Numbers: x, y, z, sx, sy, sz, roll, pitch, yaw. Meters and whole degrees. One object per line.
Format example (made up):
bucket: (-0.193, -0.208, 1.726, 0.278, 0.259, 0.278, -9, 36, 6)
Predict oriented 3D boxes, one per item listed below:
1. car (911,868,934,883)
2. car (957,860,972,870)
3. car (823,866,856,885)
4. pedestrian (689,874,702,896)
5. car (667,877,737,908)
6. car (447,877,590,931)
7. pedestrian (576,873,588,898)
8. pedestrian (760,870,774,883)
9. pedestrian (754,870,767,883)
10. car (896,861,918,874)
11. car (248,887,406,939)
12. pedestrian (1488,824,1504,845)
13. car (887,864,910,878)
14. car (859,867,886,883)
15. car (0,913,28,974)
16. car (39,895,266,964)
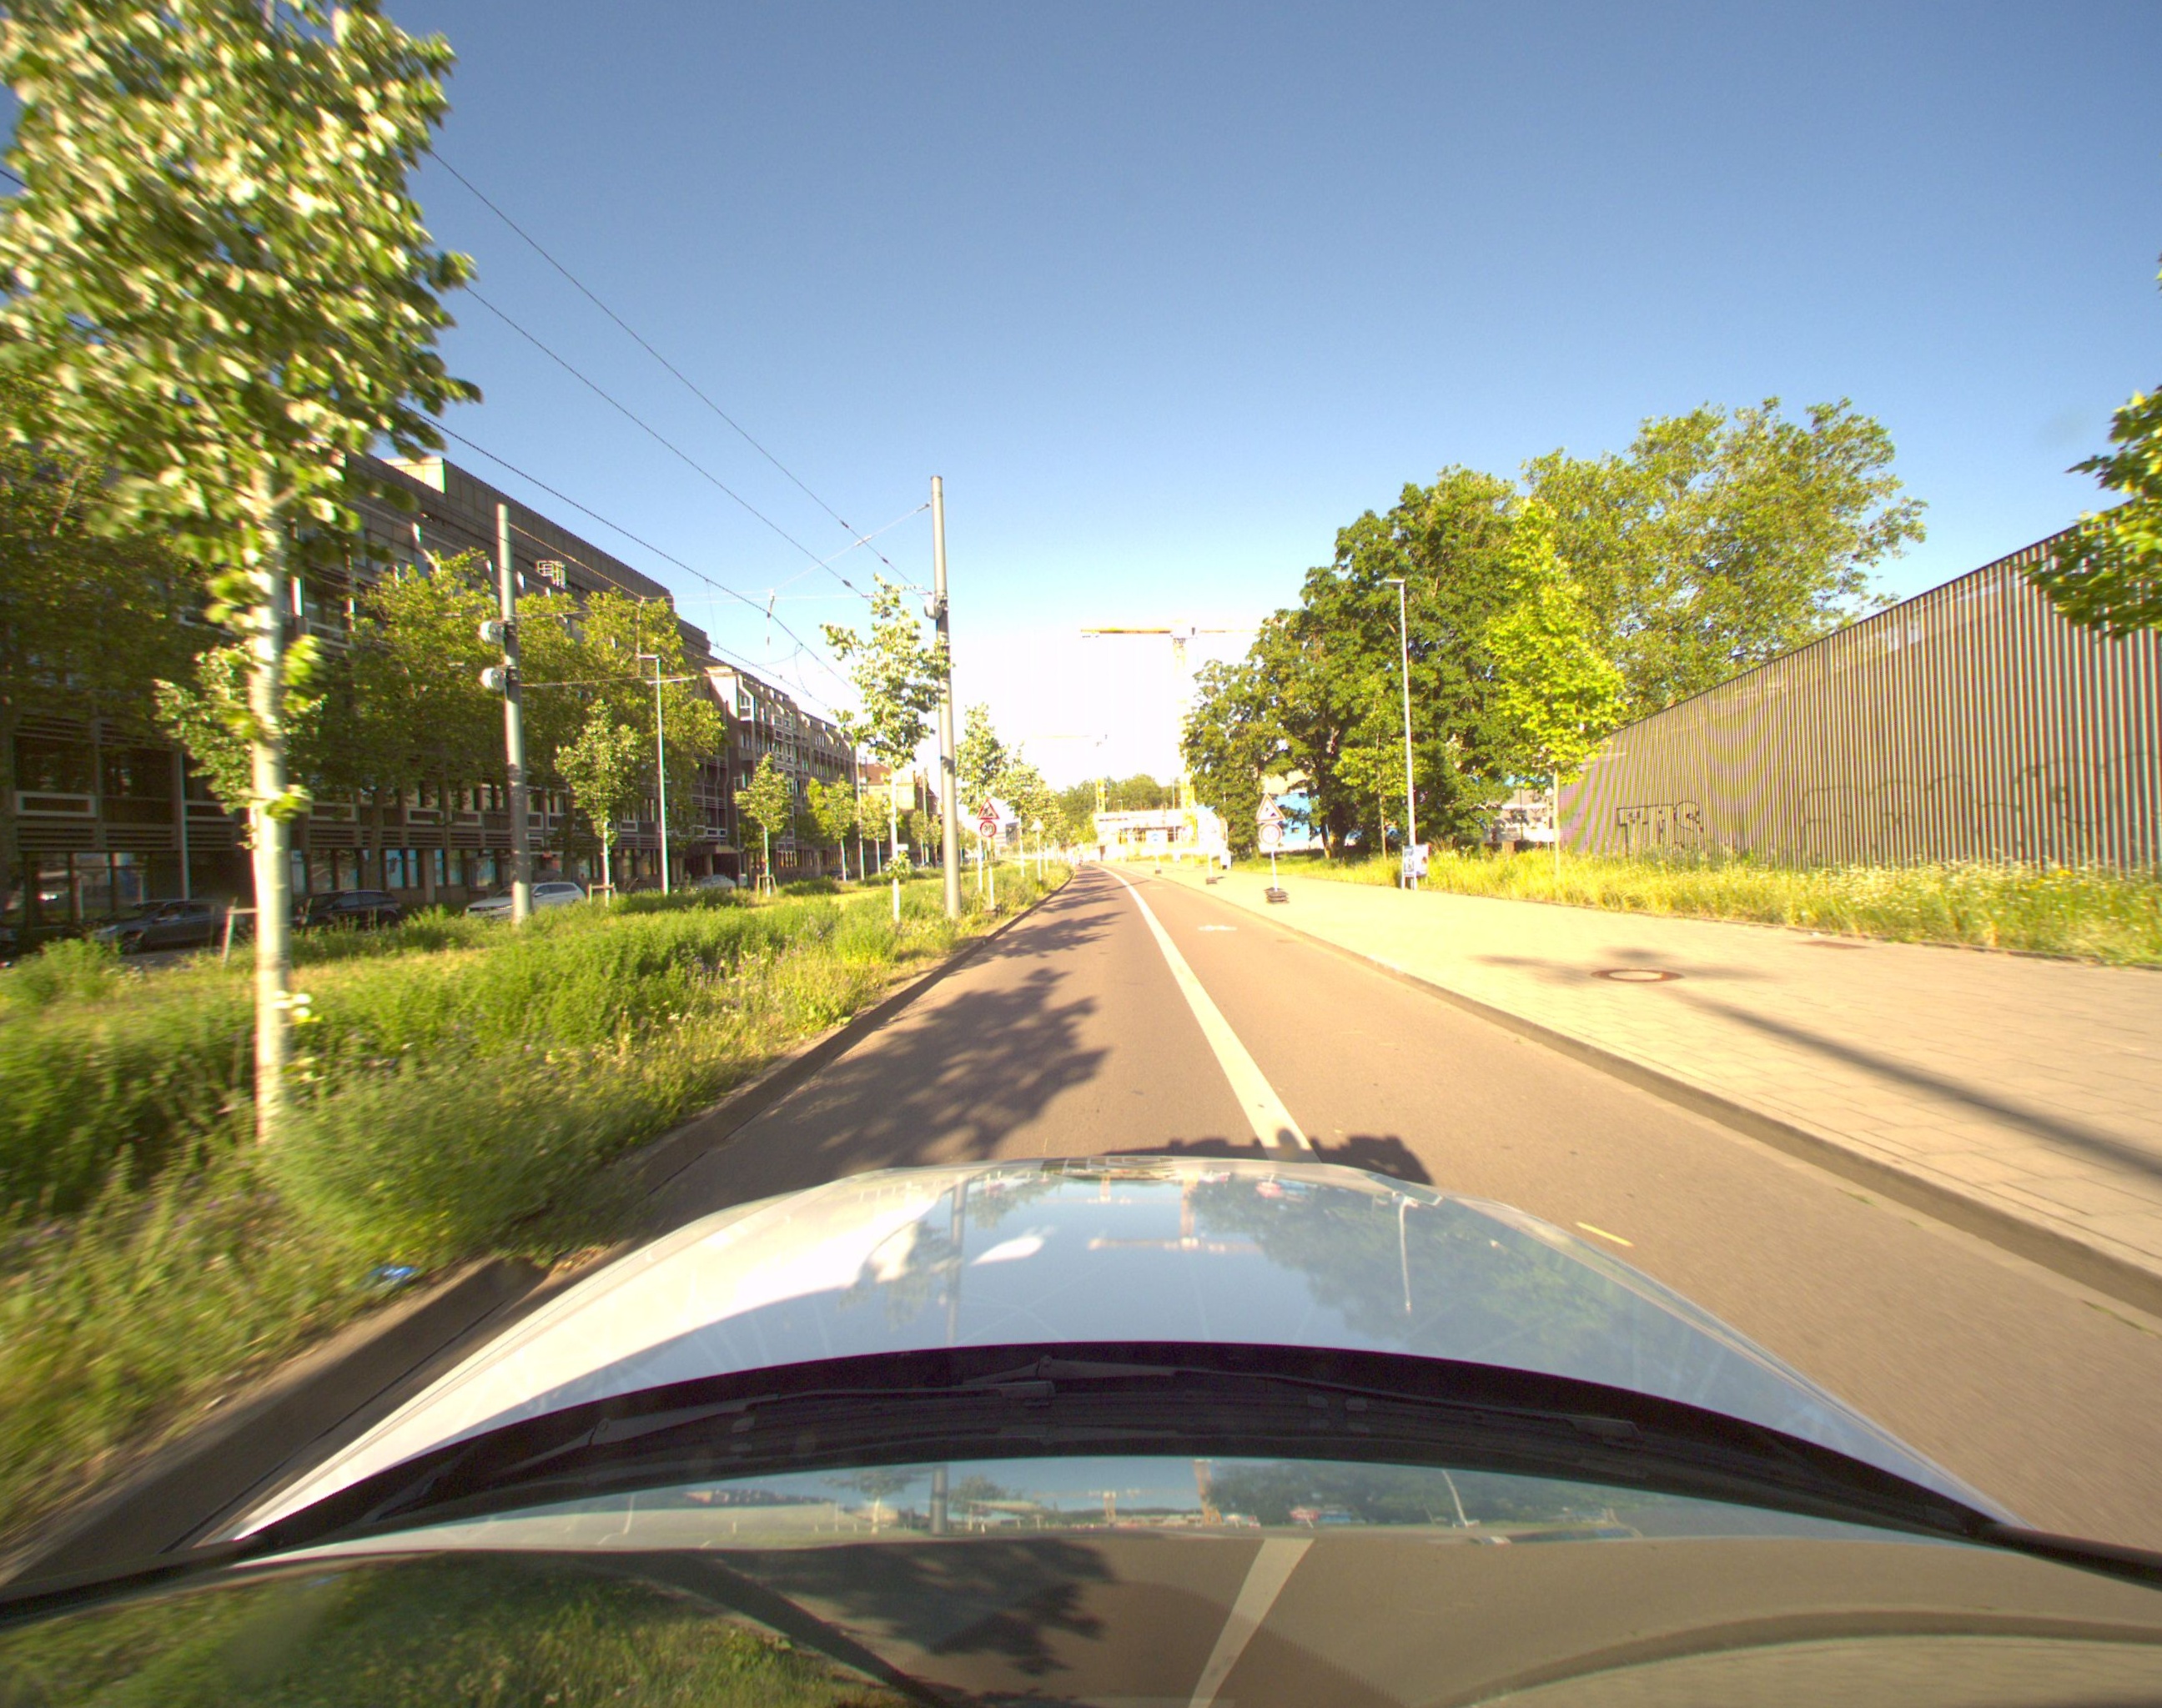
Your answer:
car: (-19.175, 2.557, 98.867, 1.897, 1.575, 4.000, -3, 0, 0)
car: (-20.443, 1.904, 142.884, 1.897, 1.575, 4.301, -3, 0, 0)
car: (-23.715, 2.093, 80.179, 1.897, 1.575, 4.301, -3, 0, 0)
pedestrian: (-29.079, 2.336, 61.447, 0.662, 1.532, 0.648, -3, 0, -4)
car: (-22.294, 2.235, 48.151, 1.751, 1.515, 4.586, -4, 0, 2)
car: (-20.777, 1.792, 30.353, 1.833, 1.594, 4.696, -3, 0, 2)
pedestrian: (-32.165, 2.002, 52.452, 0.407, 1.561, 0.447, -3, 0, 2)
pedestrian: (-30.689, 2.186, 79.525, 0.896, 1.169, 0.899, -3, 0, 2)
pedestrian: (-30.849, 2.188, 78.379, 0.897, 1.169, 0.865, -3, 0, 0)
car: (-23.597, 1.820, 110.729, 1.897, 1.575, 4.301, -3, 0, 0)
car: (-28.770, 2.204, 31.302, 1.853, 1.596, 4.280, -4, 0, 3)
pedestrian: (41.341, -1.945, 81.109, 0.915, 2.014, 0.941, -2, -2, -27)
car: (-23.495, 2.129, 104.926, 1.897, 1.575, 4.301, -3, 0, 0)
car: (-24.110, 2.398, 94.437, 1.897, 1.575, 4.301, -3, 0, 0)
car: (-29.245, 2.382, 19.587, 1.738, 1.557, 4.624, -2, 0, 1)
car: (-29.232, 2.318, 25.895, 1.902, 1.632, 4.368, -5, 0, 4)
